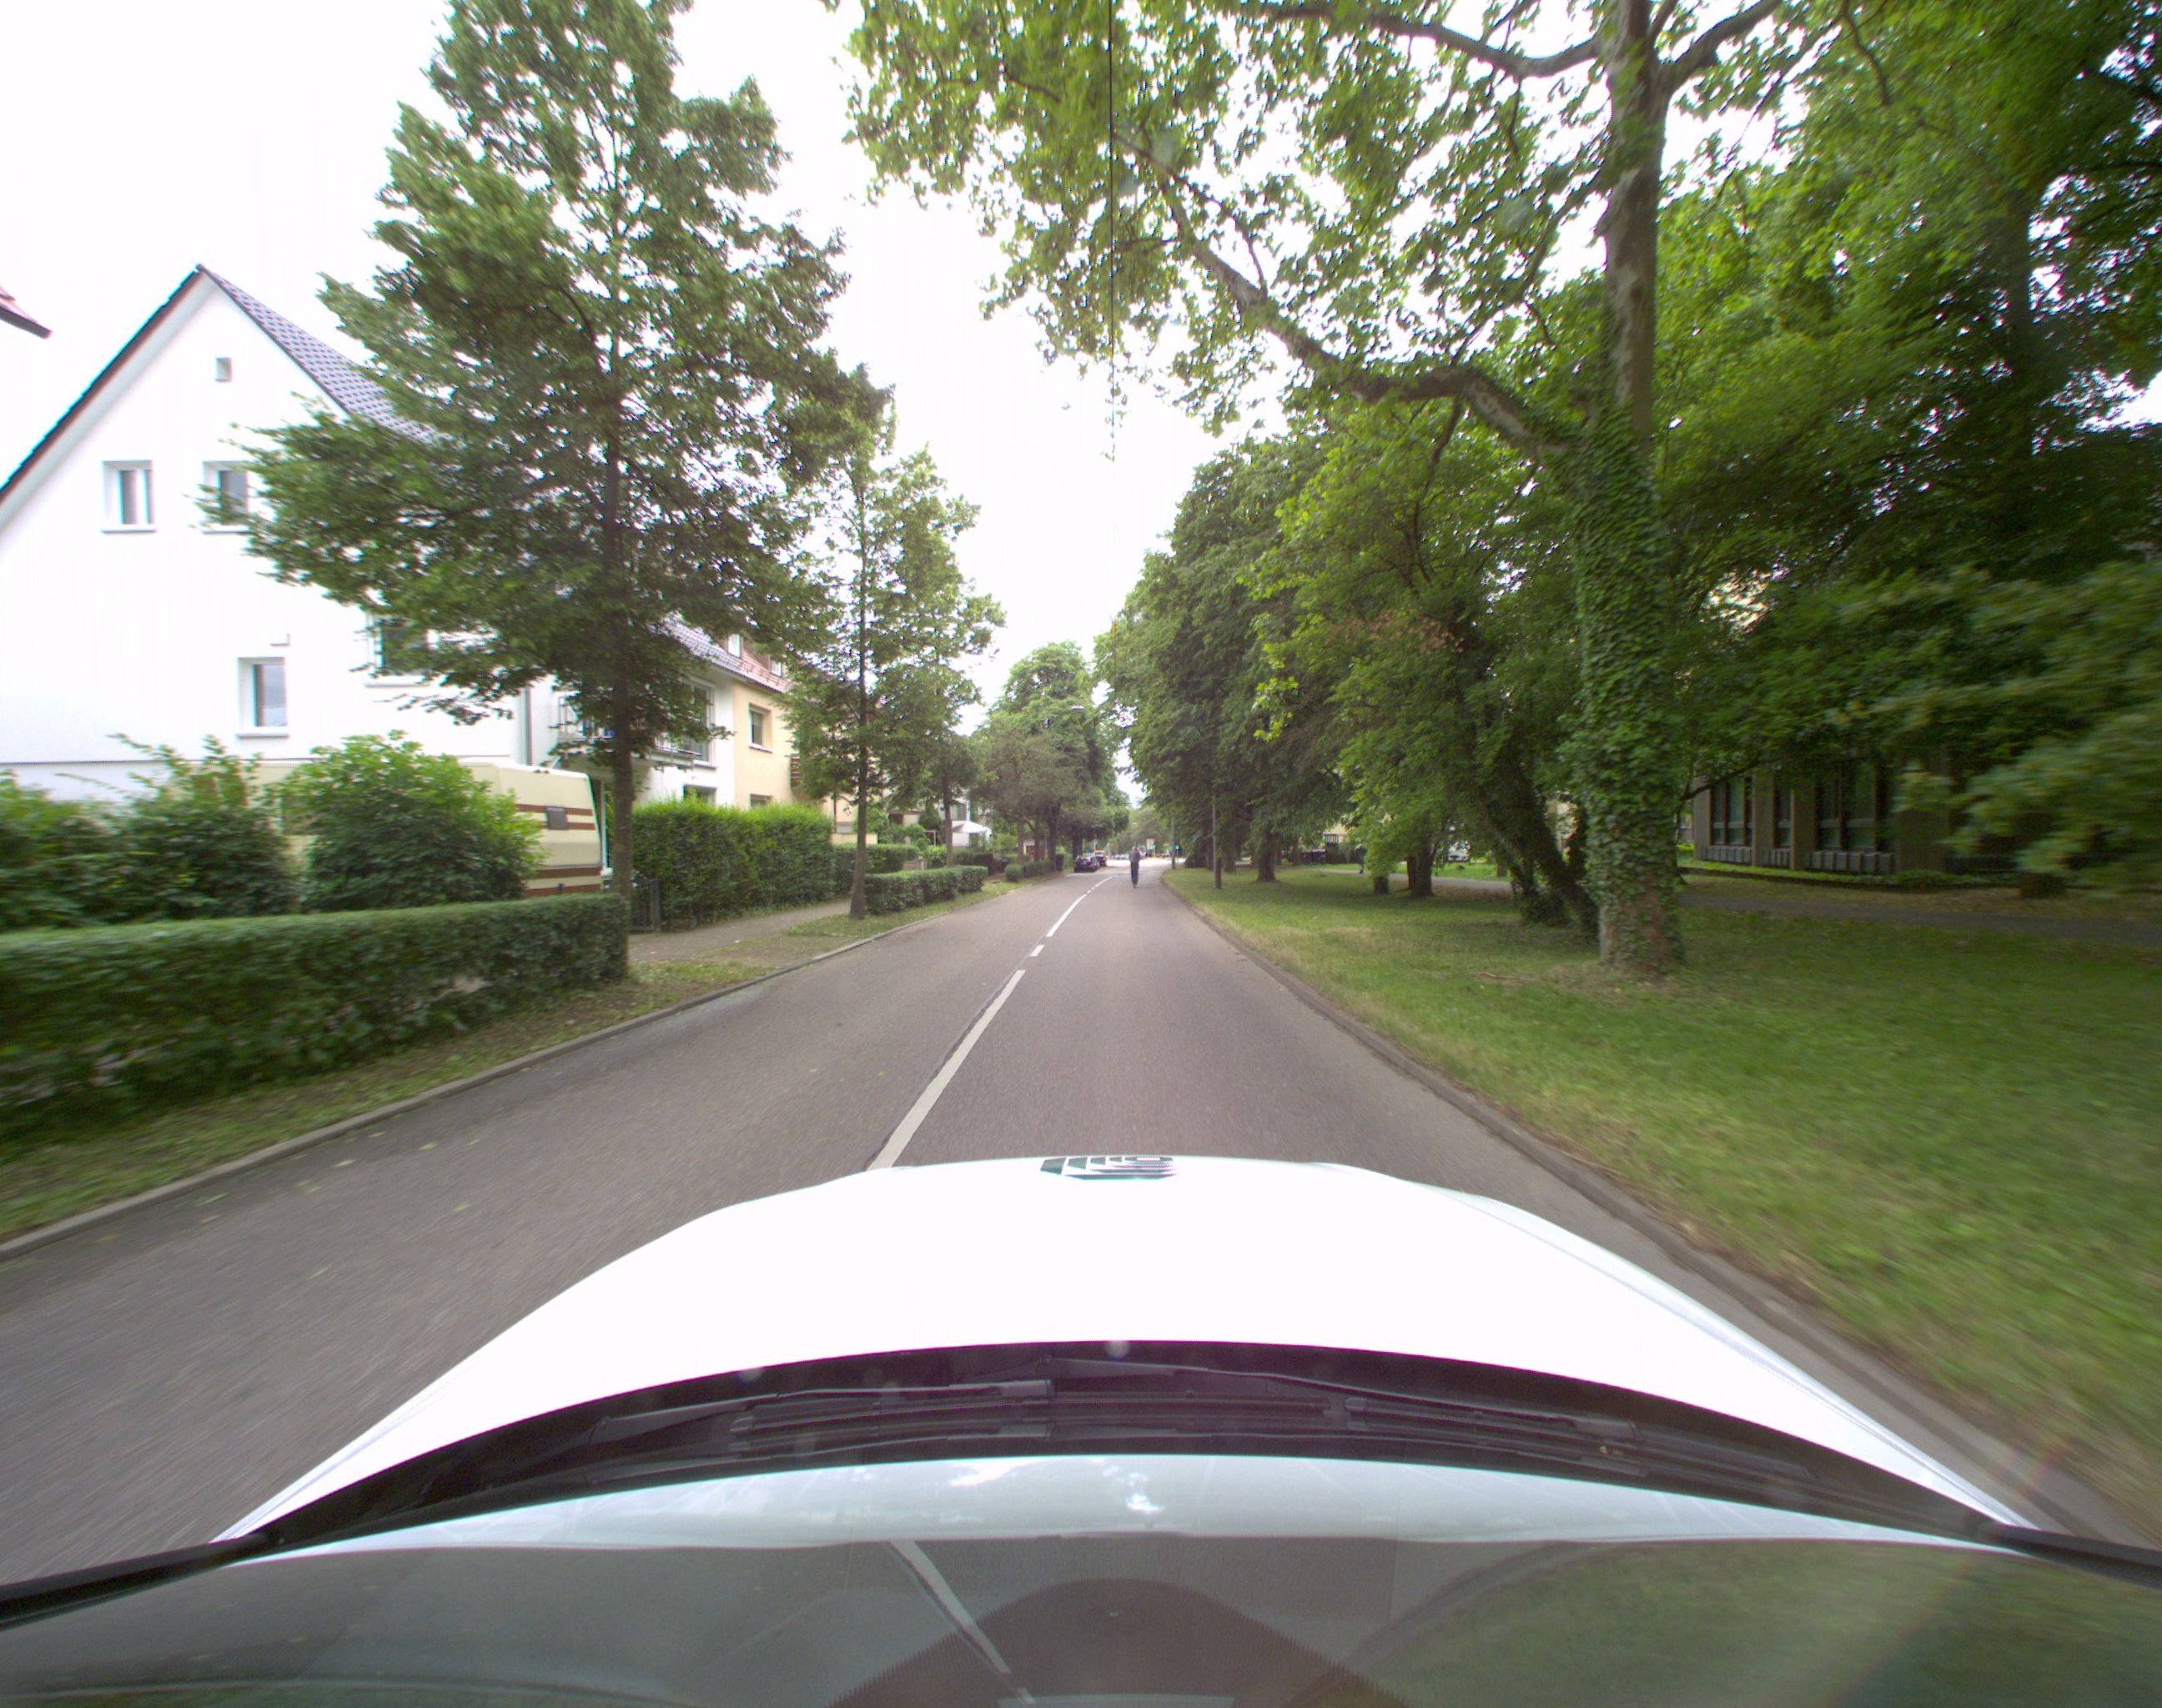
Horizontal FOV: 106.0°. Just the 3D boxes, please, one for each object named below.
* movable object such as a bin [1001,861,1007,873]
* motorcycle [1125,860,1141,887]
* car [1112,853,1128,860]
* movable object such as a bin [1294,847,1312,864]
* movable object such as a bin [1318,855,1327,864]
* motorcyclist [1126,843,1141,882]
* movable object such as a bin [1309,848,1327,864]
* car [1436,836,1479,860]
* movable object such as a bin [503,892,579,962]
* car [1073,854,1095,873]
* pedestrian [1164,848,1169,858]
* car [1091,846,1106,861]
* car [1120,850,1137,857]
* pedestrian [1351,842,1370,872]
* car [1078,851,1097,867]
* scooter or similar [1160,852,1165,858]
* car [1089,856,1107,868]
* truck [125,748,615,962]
[{"bbox_3d":[-5.873,0.967,62.179,0.455,0.915,0.508,-2,-1,-2],"label":"movable object such as a bin"},{"bbox_3d":[2.379,0.887,37.274,0.669,1.217,1.275,0,0,5],"label":"motorcycle"},{"bbox_3d":[10.114,0.637,209.897,3.972,1.510,1.800,-2,0,1],"label":"car"},{"bbox_3d":[21.190,0.147,77.875,1.321,1.501,1.315,-2,0,1],"label":"movable object such as a bin"},{"bbox_3d":[22.523,0.507,75.977,0.596,0.878,0.669,-2,0,1],"label":"movable object such as a bin"},{"bbox_3d":[2.409,0.384,37.552,0.669,1.761,0.640,0,0,5],"label":"motorcyclist"},{"bbox_3d":[22.630,0.215,77.863,1.321,1.501,1.315,-2,0,1],"label":"movable object such as a bin"},{"bbox_3d":[30.412,-0.527,65.937,2.072,1.842,4.985,-2,1,12],"label":"car"},{"bbox_3d":[-7.753,1.042,11.706,0.577,0.926,0.694,-2,0,4],"label":"movable object such as a bin"},{"bbox_3d":[0.281,0.801,70.451,1.787,1.472,4.420,-2,0,2],"label":"car"},{"bbox_3d":[15.607,-0.162,148.576,0.726,1.762,0.665,-2,-1,23],"label":"pedestrian"},{"bbox_3d":[2.458,-0.049,112.586,1.852,1.964,4.502,-2,-1,-1],"label":"car"},{"bbox_3d":[11.253,-0.094,195.017,3.972,1.510,1.800,-2,0,1],"label":"car"},{"bbox_3d":[16.280,0.161,47.459,0.764,1.686,0.815,-2,0,3],"label":"pedestrian"},{"bbox_3d":[0.626,0.463,75.520,1.658,1.391,3.708,-2,0,2],"label":"car"},{"bbox_3d":[14.942,0.215,148.900,0.704,1.049,0.792,-2,-1,23],"label":"scooter or similar"},{"bbox_3d":[2.171,0.988,101.649,1.883,1.410,4.559,-2,-1,5],"label":"car"},{"bbox_3d":[-11.260,0.011,13.332,5.776,3.131,2.518,-1,0,0],"label":"truck"}]
